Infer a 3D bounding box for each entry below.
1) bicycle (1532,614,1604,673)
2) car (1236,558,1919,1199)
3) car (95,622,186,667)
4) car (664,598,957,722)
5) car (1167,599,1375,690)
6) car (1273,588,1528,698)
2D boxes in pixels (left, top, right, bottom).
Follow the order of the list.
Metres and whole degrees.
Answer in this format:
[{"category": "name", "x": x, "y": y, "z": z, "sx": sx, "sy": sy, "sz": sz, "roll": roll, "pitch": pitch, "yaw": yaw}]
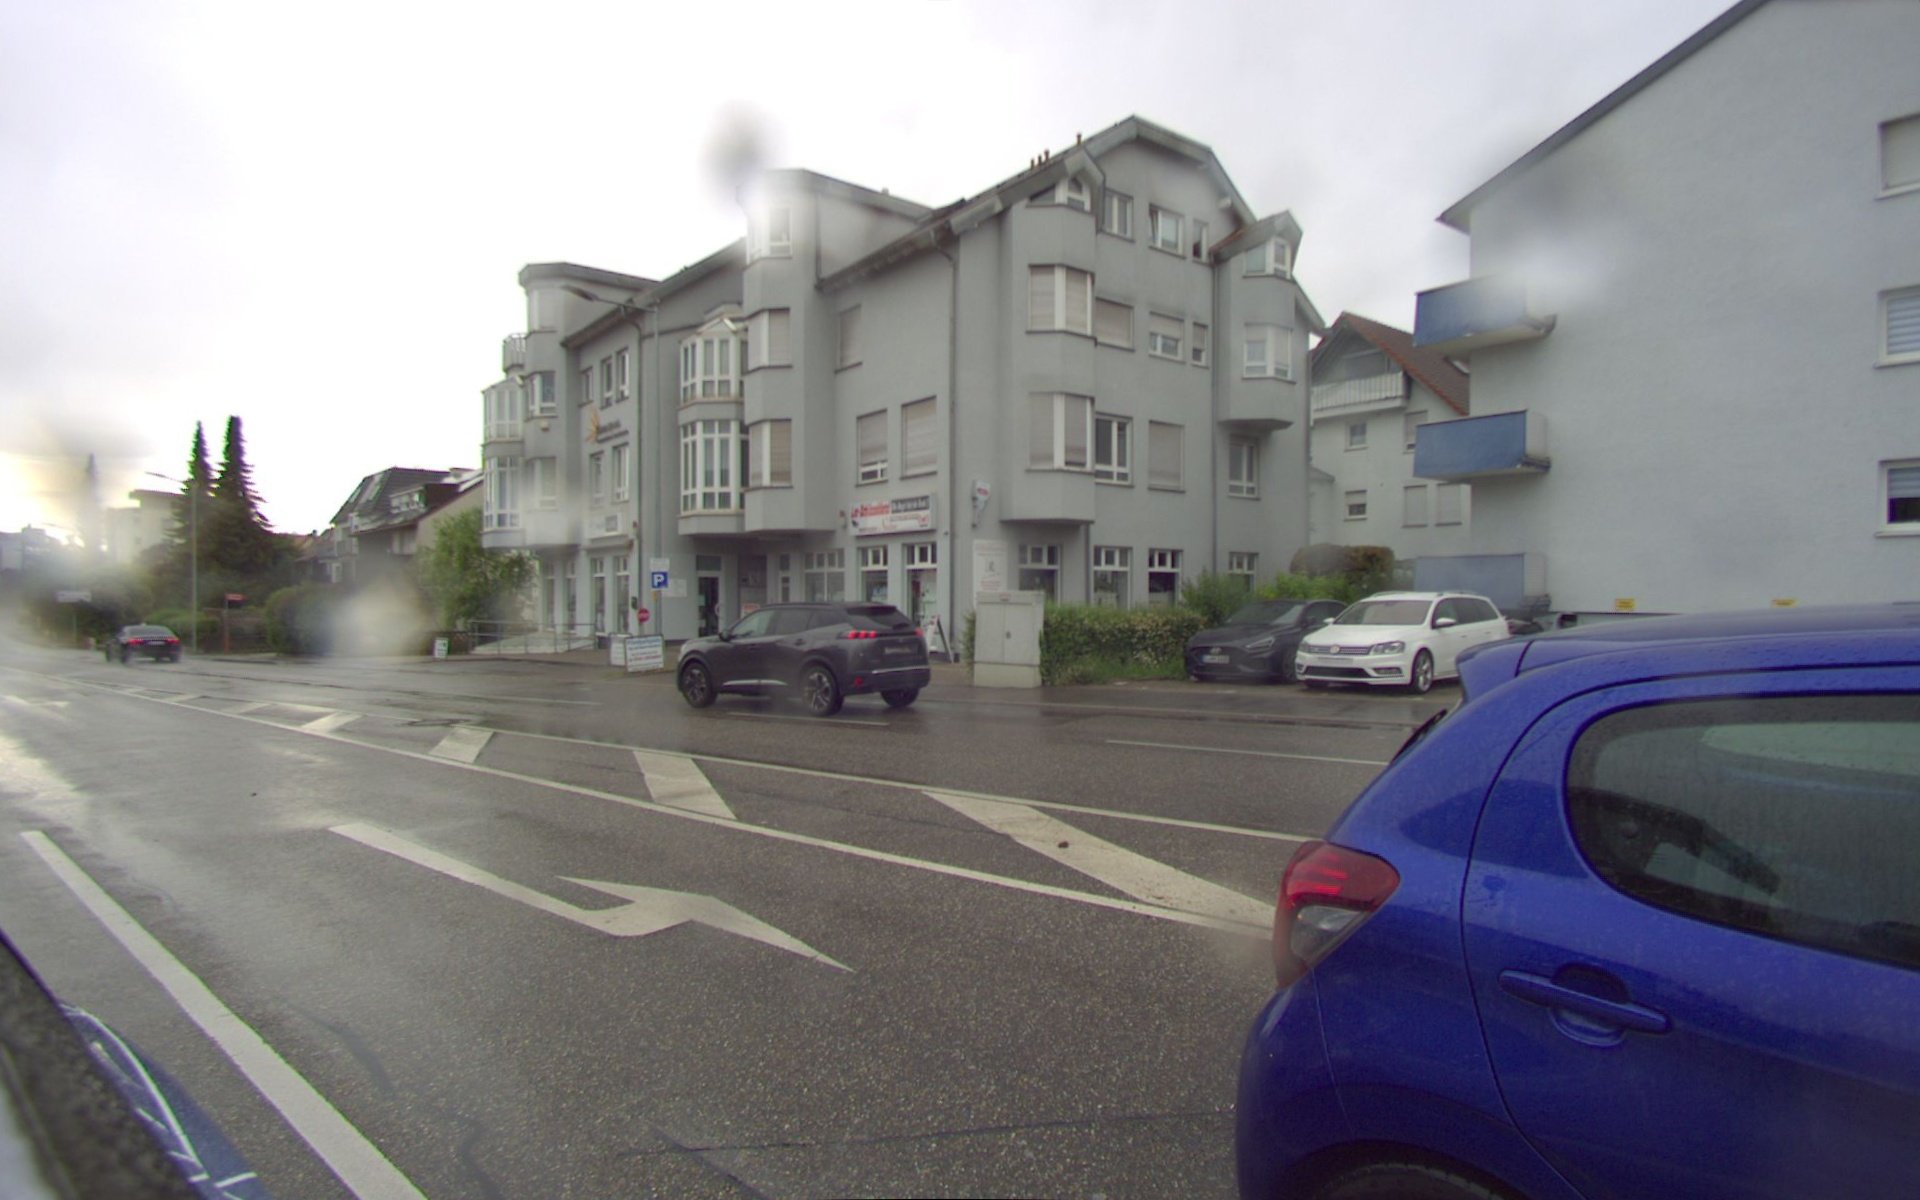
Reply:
[{"category": "bicycle", "x": 11.147, "y": 0.793, "z": 18.564, "sx": 1.065, "sy": 1.061, "sz": 0.343, "roll": -2, "pitch": -1, "yaw": 41}, {"category": "car", "x": 2.240, "y": 0.633, "z": 1.199, "sx": 3.362, "sy": 1.423, "sz": 1.489, "roll": -2, "pitch": -1, "yaw": 41}, {"category": "car", "x": -33.182, "y": 1.748, "z": 40.954, "sx": 4.534, "sy": 1.637, "sz": 1.974, "roll": -1, "pitch": 0, "yaw": 39}, {"category": "car", "x": -2.211, "y": 0.761, "z": 14.534, "sx": 3.994, "sy": 1.523, "sz": 1.949, "roll": -1, "pitch": 0, "yaw": 37}, {"category": "car", "x": 5.497, "y": 0.690, "z": 17.652, "sx": 1.851, "sy": 1.366, "sz": 3.941, "roll": -1, "pitch": 0, "yaw": 45}, {"category": "car", "x": 6.986, "y": 0.604, "z": 15.808, "sx": 4.685, "sy": 1.471, "sz": 1.883, "roll": 0, "pitch": -2, "yaw": -42}]
